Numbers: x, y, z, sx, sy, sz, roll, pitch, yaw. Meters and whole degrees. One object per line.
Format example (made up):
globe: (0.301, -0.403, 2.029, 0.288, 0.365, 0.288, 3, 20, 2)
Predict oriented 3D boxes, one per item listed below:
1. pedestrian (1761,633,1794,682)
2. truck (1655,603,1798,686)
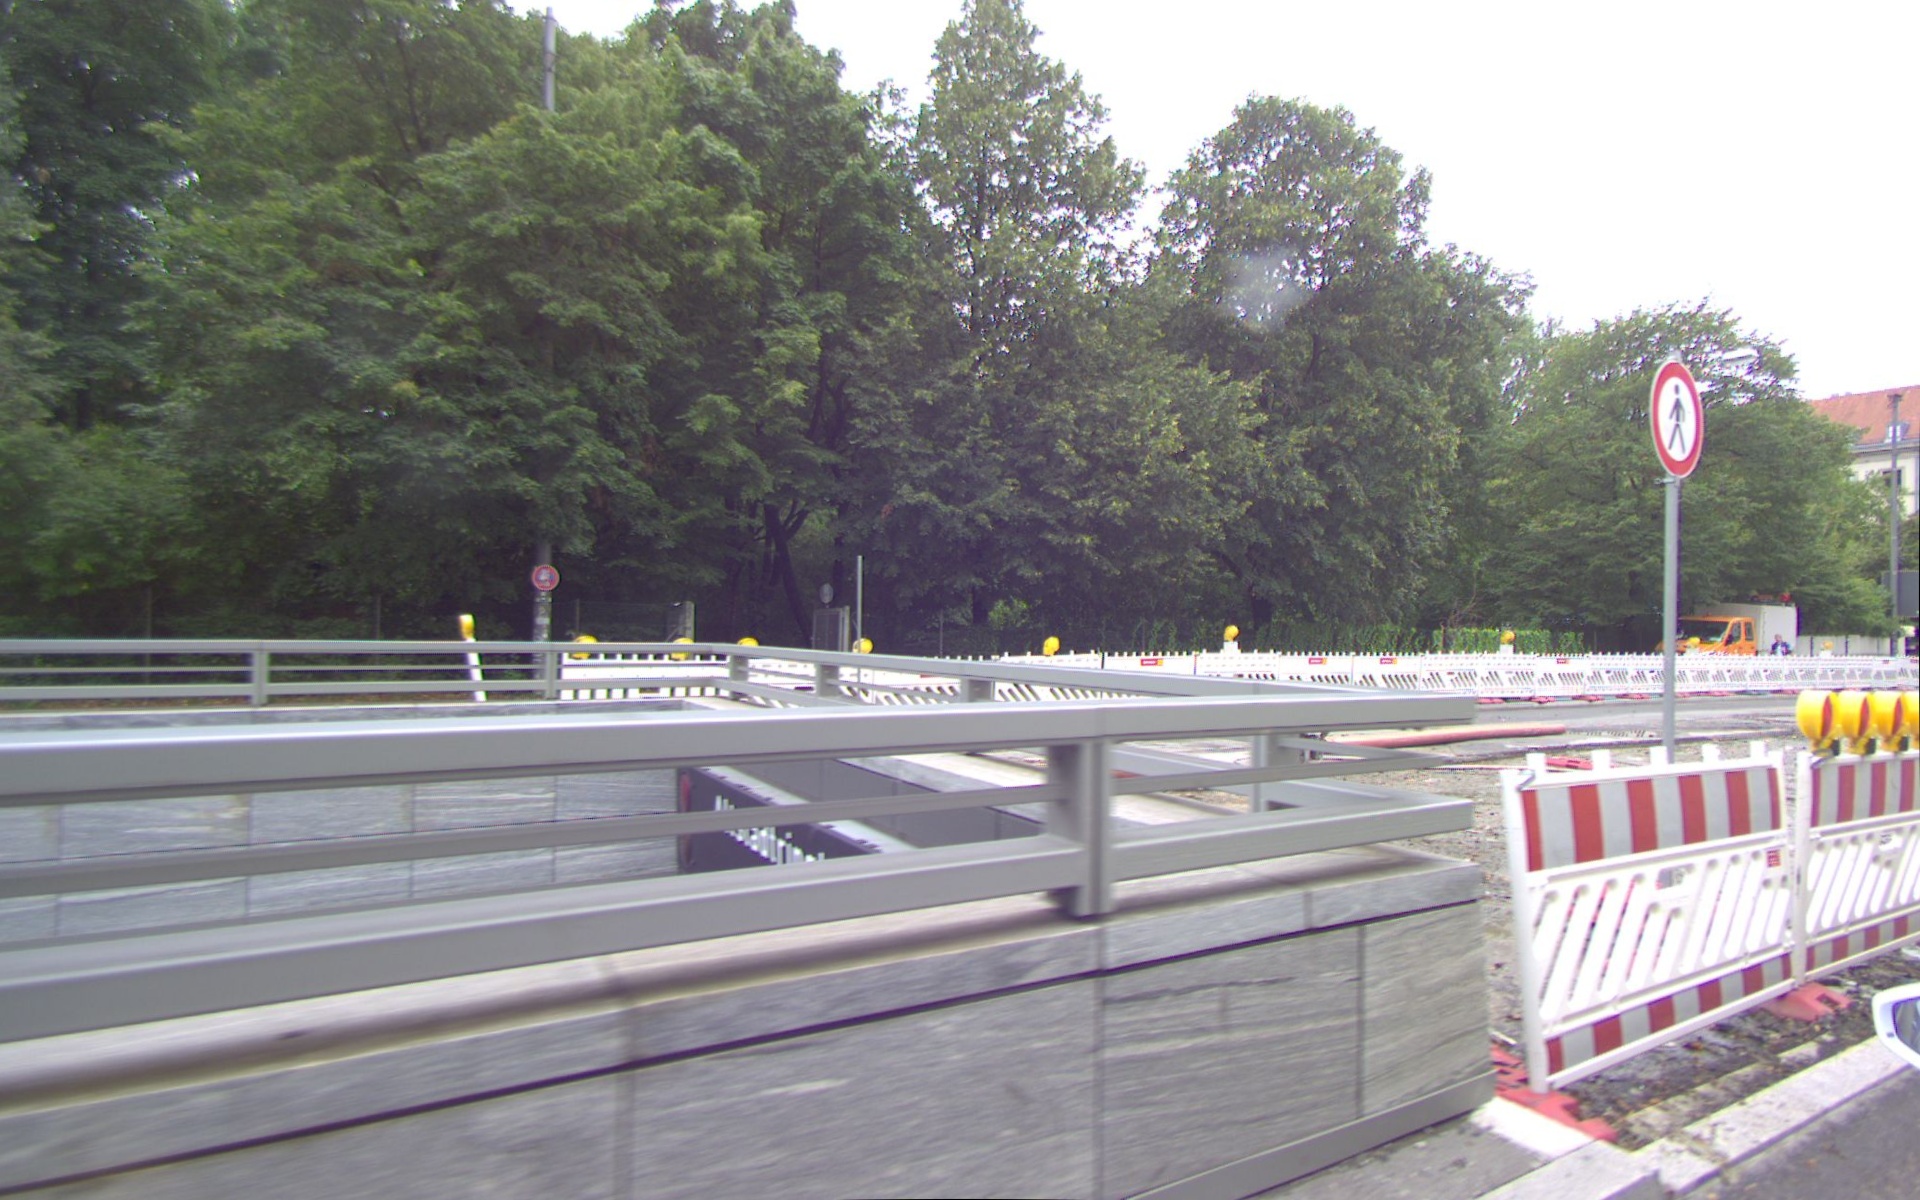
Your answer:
pedestrian: (27.958, 1.965, 34.364, 0.690, 1.624, 0.660, 2, 0, -29)
truck: (27.350, 1.576, 35.775, 5.801, 2.764, 1.984, 2, -1, -30)
